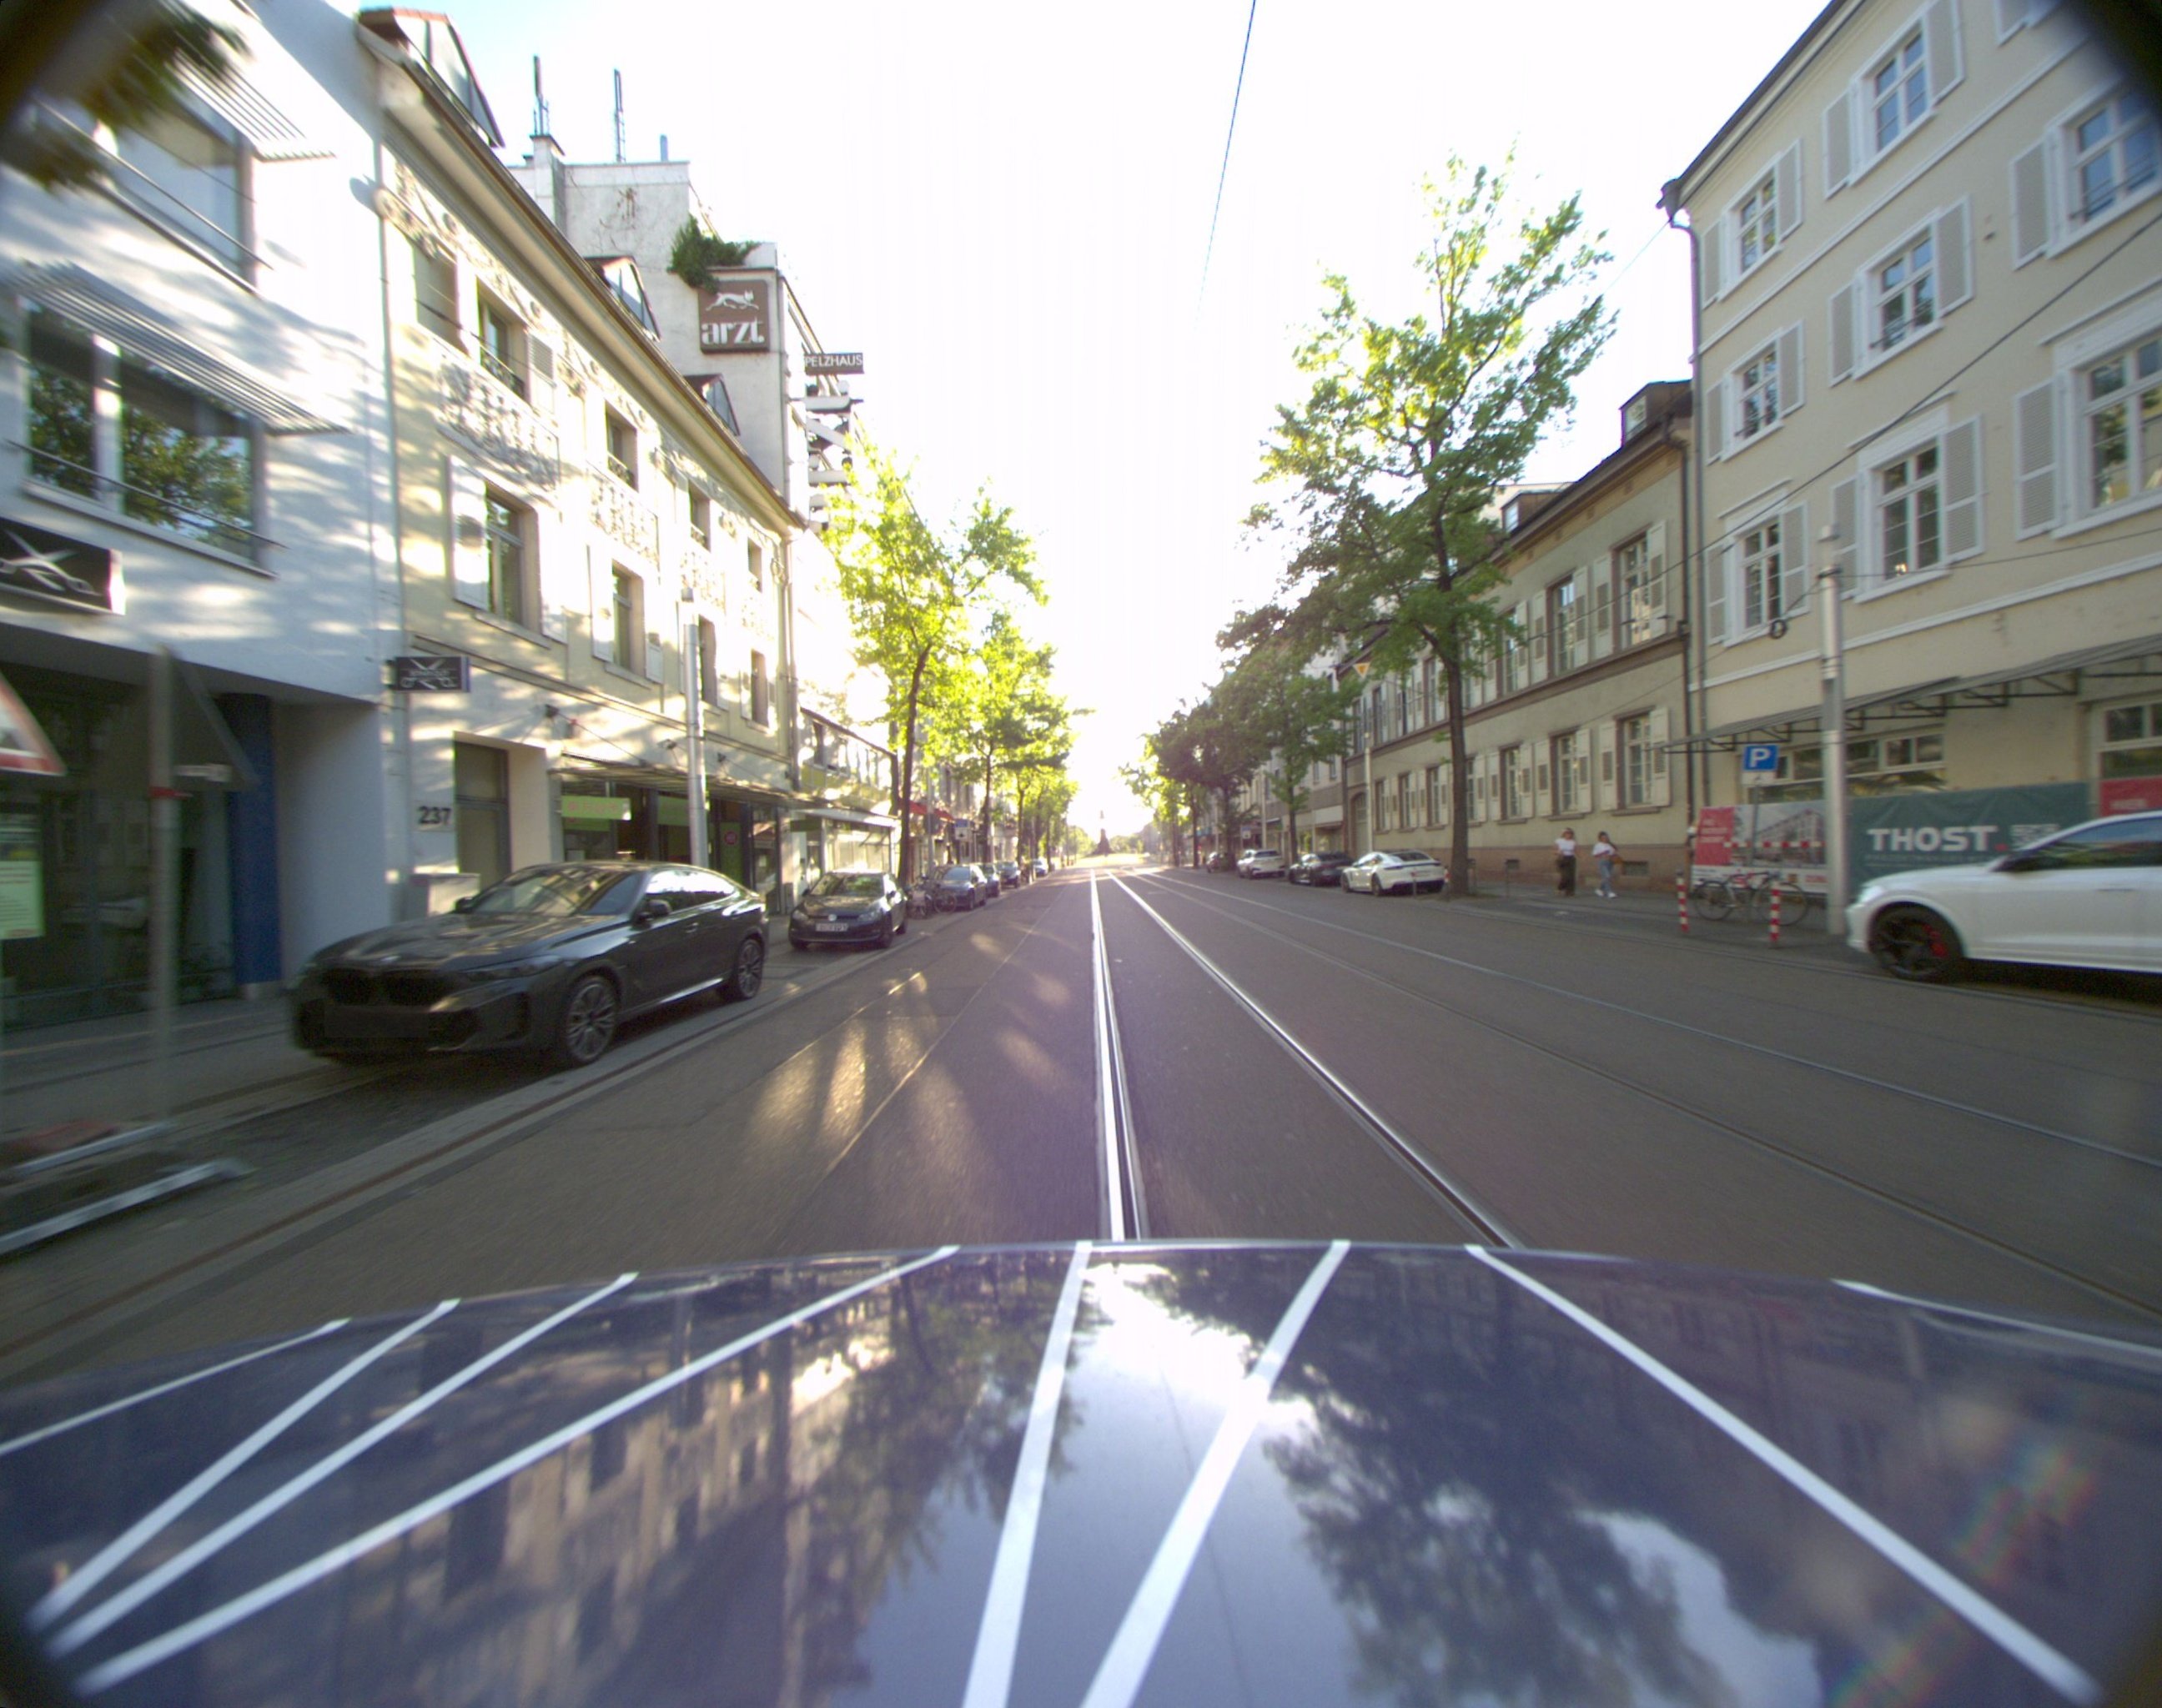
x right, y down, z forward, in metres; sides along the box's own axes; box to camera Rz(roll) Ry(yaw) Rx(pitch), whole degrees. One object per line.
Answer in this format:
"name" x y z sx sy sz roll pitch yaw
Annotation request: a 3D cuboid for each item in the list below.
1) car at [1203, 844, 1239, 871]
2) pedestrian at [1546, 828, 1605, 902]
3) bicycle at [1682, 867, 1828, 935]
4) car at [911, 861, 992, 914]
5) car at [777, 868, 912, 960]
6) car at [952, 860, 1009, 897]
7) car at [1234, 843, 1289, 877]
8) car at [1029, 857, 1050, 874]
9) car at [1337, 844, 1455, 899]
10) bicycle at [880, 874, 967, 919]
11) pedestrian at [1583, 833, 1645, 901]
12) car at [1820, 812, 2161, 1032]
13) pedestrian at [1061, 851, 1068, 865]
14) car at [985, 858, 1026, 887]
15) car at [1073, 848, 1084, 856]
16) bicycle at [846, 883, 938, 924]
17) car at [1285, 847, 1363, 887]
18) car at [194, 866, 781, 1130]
"car" 10.765 0.256 58.778 1.931 1.946 4.765 -1 0 1
"pedestrian" 12.159 0.265 18.695 0.746 1.732 0.933 -4 1 2
"bicycle" 11.076 0.739 12.582 0.628 0.969 1.894 -4 0 -2
"car" -4.183 1.040 25.190 1.770 1.502 4.287 -2 0 2
"car" -4.614 1.096 15.437 1.871 1.502 4.241 1 0 -7
"car" -4.364 1.033 33.706 1.870 1.502 4.286 1 0 1
"car" 10.342 0.336 43.908 1.952 1.731 4.765 -5 0 1
"car" -3.619 1.027 66.572 1.564 1.391 3.697 1 0 1
"car" 10.008 0.514 24.549 1.897 1.458 4.617 -5 0 1
"bicycle" -4.533 1.215 21.949 2.325 1.181 0.751 -2 1 2
"pedestrian" 12.978 0.308 18.526 0.746 1.571 0.933 -4 1 1
"car" 9.495 0.513 6.212 1.870 1.679 4.950 -5 0 -2
"pedestrian" -2.086 0.506 95.901 0.706 1.858 0.791 -3 1 -21
"car" -4.158 0.983 42.319 1.798 1.502 3.986 1 0 1
"car" -0.487 -0.391 144.200 1.827 1.603 3.796 -2 0 1
"bicycle" -5.007 1.312 20.146 2.249 0.982 0.615 -2 1 2
"car" 10.227 0.515 32.311 1.745 1.458 4.342 -5 0 -2
"car" -4.990 1.014 7.588 1.985 1.679 4.873 1 0 1
